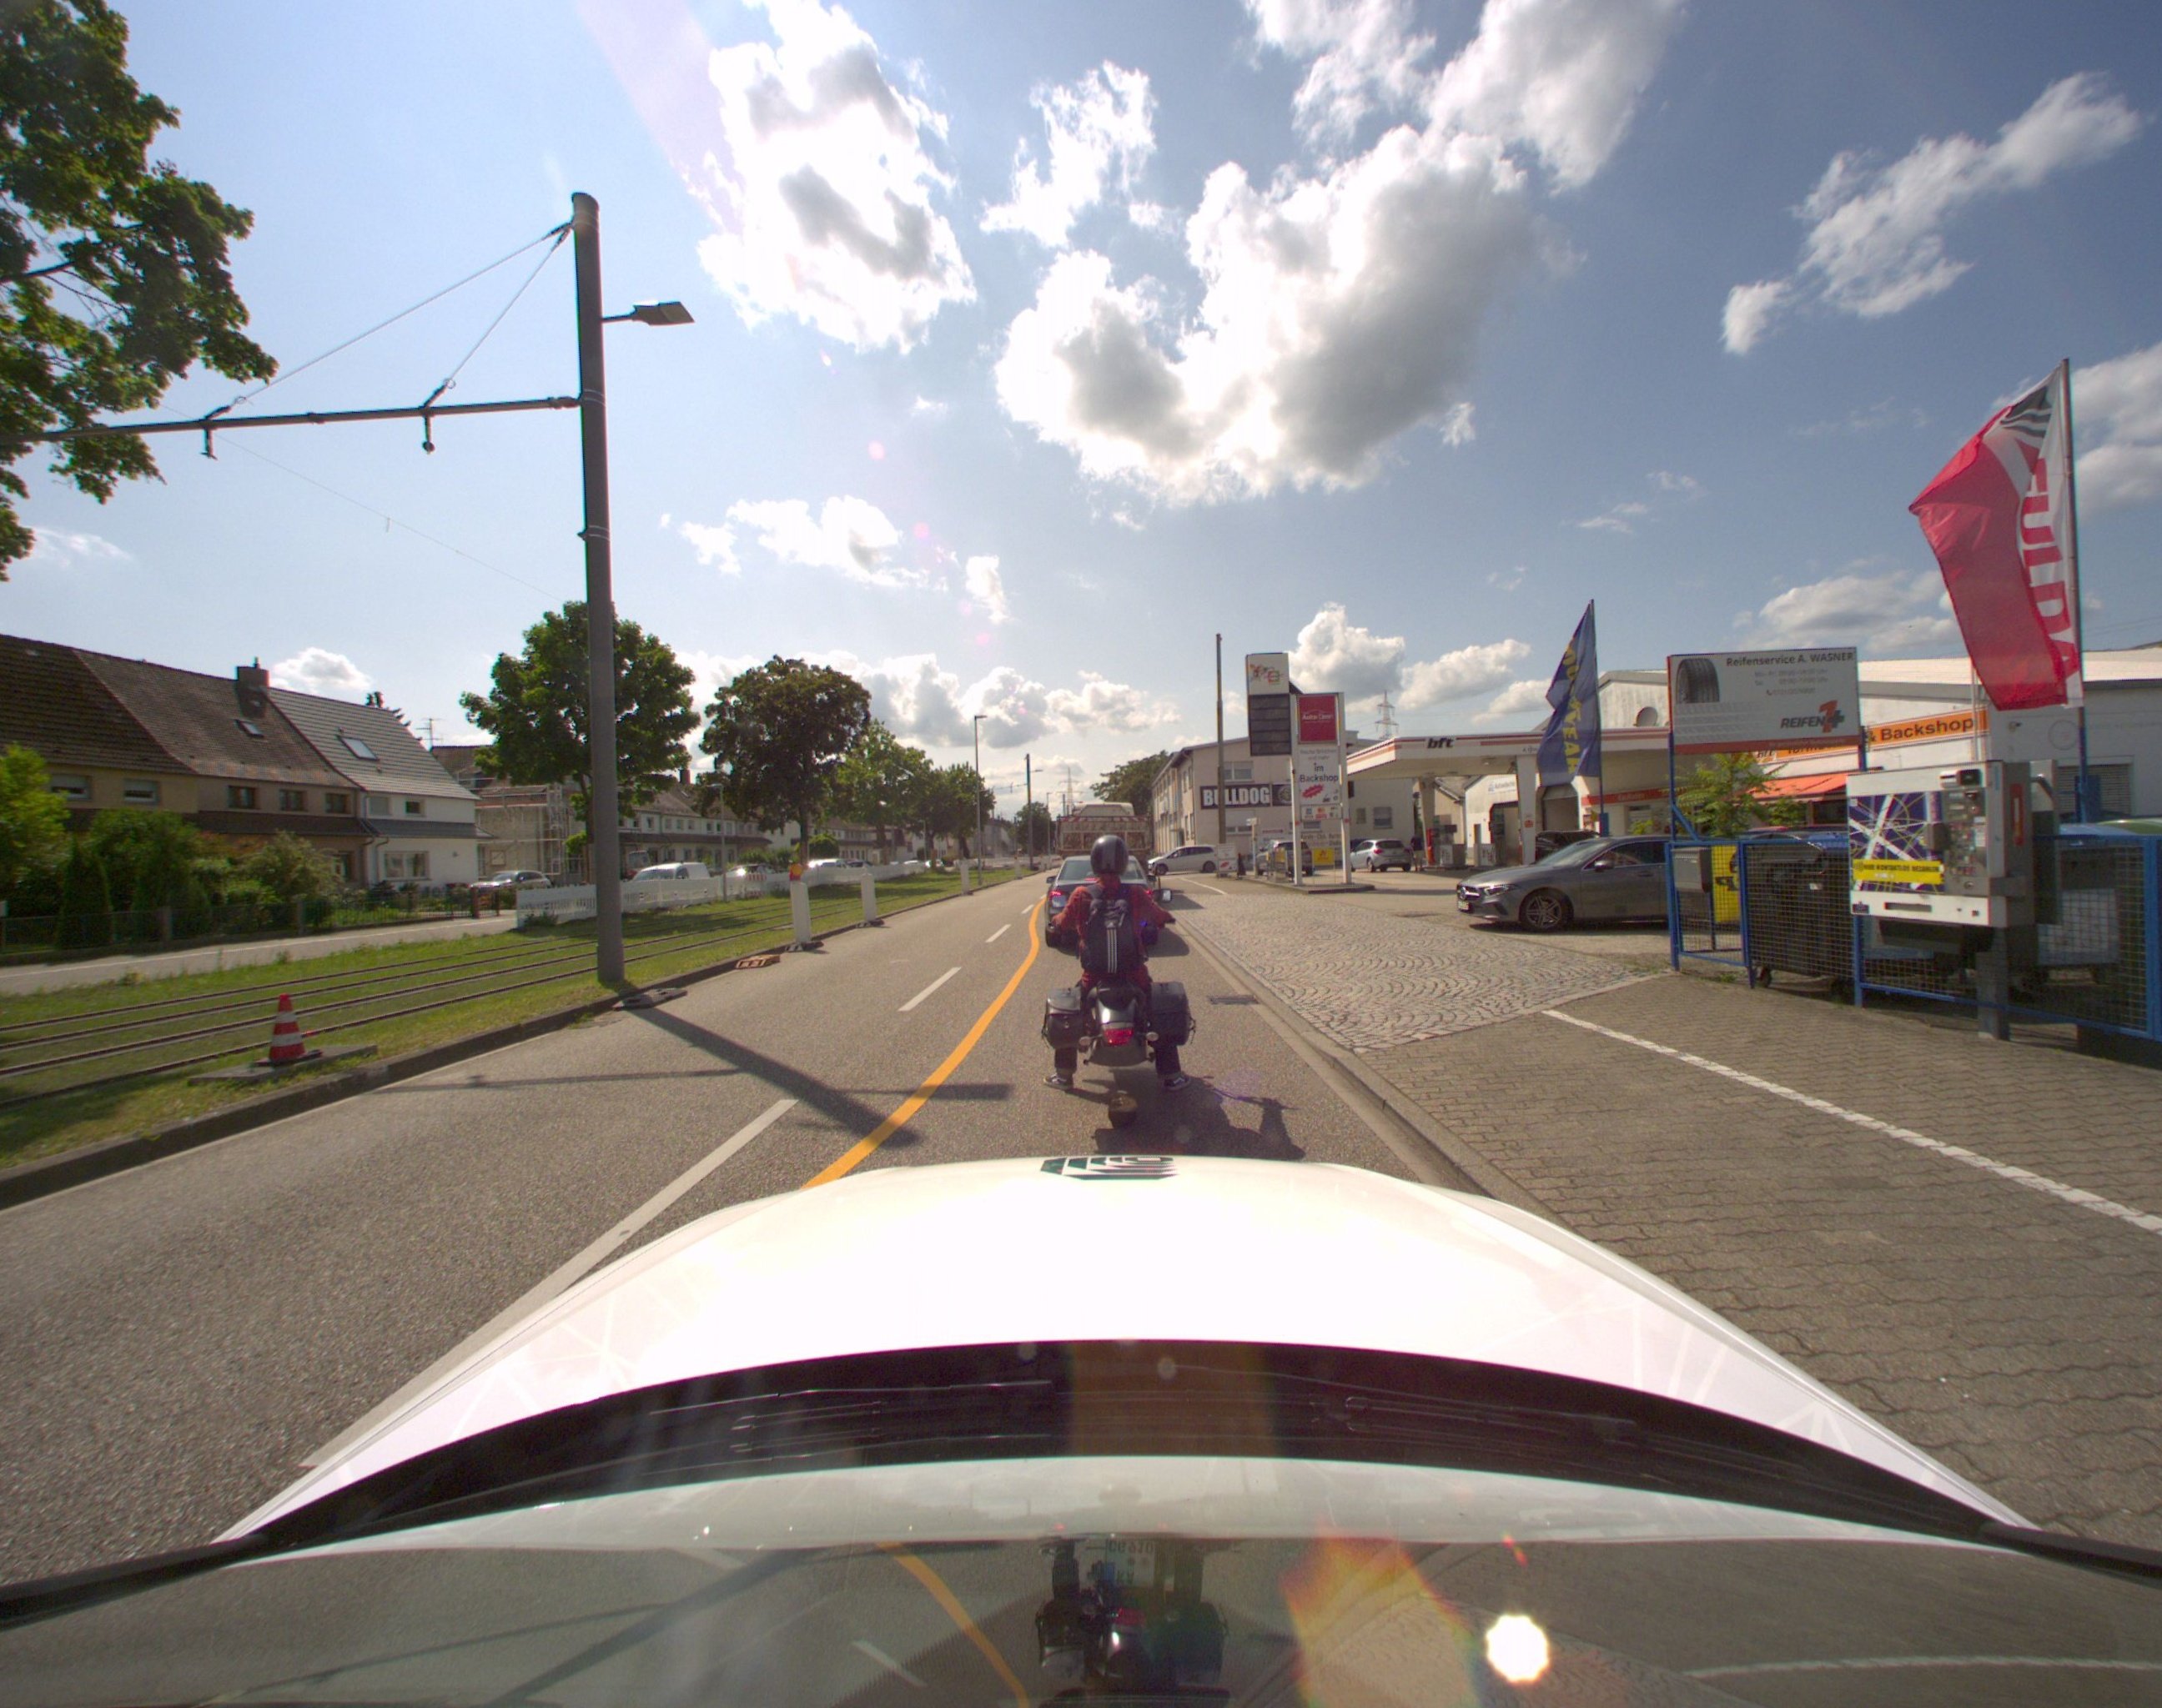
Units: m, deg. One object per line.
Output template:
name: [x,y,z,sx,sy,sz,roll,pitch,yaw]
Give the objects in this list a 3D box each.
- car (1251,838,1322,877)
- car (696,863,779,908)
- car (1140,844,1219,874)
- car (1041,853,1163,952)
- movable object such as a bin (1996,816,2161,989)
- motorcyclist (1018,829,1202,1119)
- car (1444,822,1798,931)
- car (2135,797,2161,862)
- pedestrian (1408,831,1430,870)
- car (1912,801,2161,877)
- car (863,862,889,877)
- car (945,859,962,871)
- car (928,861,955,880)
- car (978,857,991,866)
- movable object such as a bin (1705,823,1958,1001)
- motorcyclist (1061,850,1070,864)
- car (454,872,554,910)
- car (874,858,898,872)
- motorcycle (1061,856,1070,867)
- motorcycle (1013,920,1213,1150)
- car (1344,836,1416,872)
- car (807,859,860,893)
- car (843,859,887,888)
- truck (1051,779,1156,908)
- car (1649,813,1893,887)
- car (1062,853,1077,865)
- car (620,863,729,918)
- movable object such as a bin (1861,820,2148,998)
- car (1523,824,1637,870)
car: [9.114,0.148,36.460,1.665,1.562,4.235,-2,0,-6]
car: [-15.411,1.366,36.805,1.769,1.774,4.230,-2,0,2]
car: [5.676,0.289,47.019,4.225,1.543,1.669,-2,0,-7]
car: [0.379,0.728,14.247,1.816,1.452,4.002,0,0,2]
movable object such as a bin: [9.486,0.374,7.138,1.397,1.396,1.338,-2,0,1]
motorcyclist: [0.179,0.676,5.148,0.975,1.602,1.088,-2,0,1]
car: [8.124,0.339,12.635,4.247,1.415,1.678,-2,0,9]
car: [26.525,-0.638,18.010,4.180,1.463,1.587,-2,0,2]
pedestrian: [14.650,-0.134,35.326,0.701,1.656,0.551,-2,0,37]
car: [21.521,-0.341,18.173,4.180,1.463,1.587,-2,0,2]
car: [-24.394,1.832,97.048,1.769,1.722,4.130,-2,0,2]
car: [-19.641,1.626,125.923,1.769,1.722,4.130,-2,0,2]
car: [-13.733,1.626,80.461,1.769,1.722,4.130,-2,0,2]
car: [-19.105,1.519,161.360,1.769,1.722,4.252,-2,0,2]
movable object such as a bin: [6.689,0.478,7.366,1.104,1.436,1.244,-2,0,1]
motorcyclist: [-1.501,0.301,80.249,0.866,1.378,0.800,-2,0,-1]
car: [-27.439,1.723,38.900,1.769,1.519,4.002,-2,0,2]
car: [-25.166,1.394,105.209,1.769,1.722,4.130,-2,0,2]
motorcycle: [-1.493,0.741,80.213,0.866,1.021,2.244,-2,0,-1]
motorcycle: [0.204,1.024,5.452,0.975,0.897,2.654,-2,0,2]
car: [13.474,-0.011,36.927,1.800,1.503,3.832,-2,0,-1]
car: [-15.067,1.324,49.867,1.769,1.867,4.130,-2,0,2]
car: [-14.808,1.331,56.045,1.769,1.805,4.130,-2,0,2]
truck: [0.725,-0.290,25.507,2.628,3.296,8.059,-2,0,2]
car: [15.773,-0.090,18.765,4.180,1.463,1.587,-2,0,2]
car: [-1.634,0.668,113.940,1.816,1.452,4.326,-3,0,2]
car: [-15.427,1.313,31.161,1.769,1.821,4.366,-2,0,2]
movable object such as a bin: [8.083,0.444,7.226,1.104,1.396,1.244,-2,0,1]
car: [18.117,-0.249,29.792,1.800,1.503,3.833,-2,0,0]
